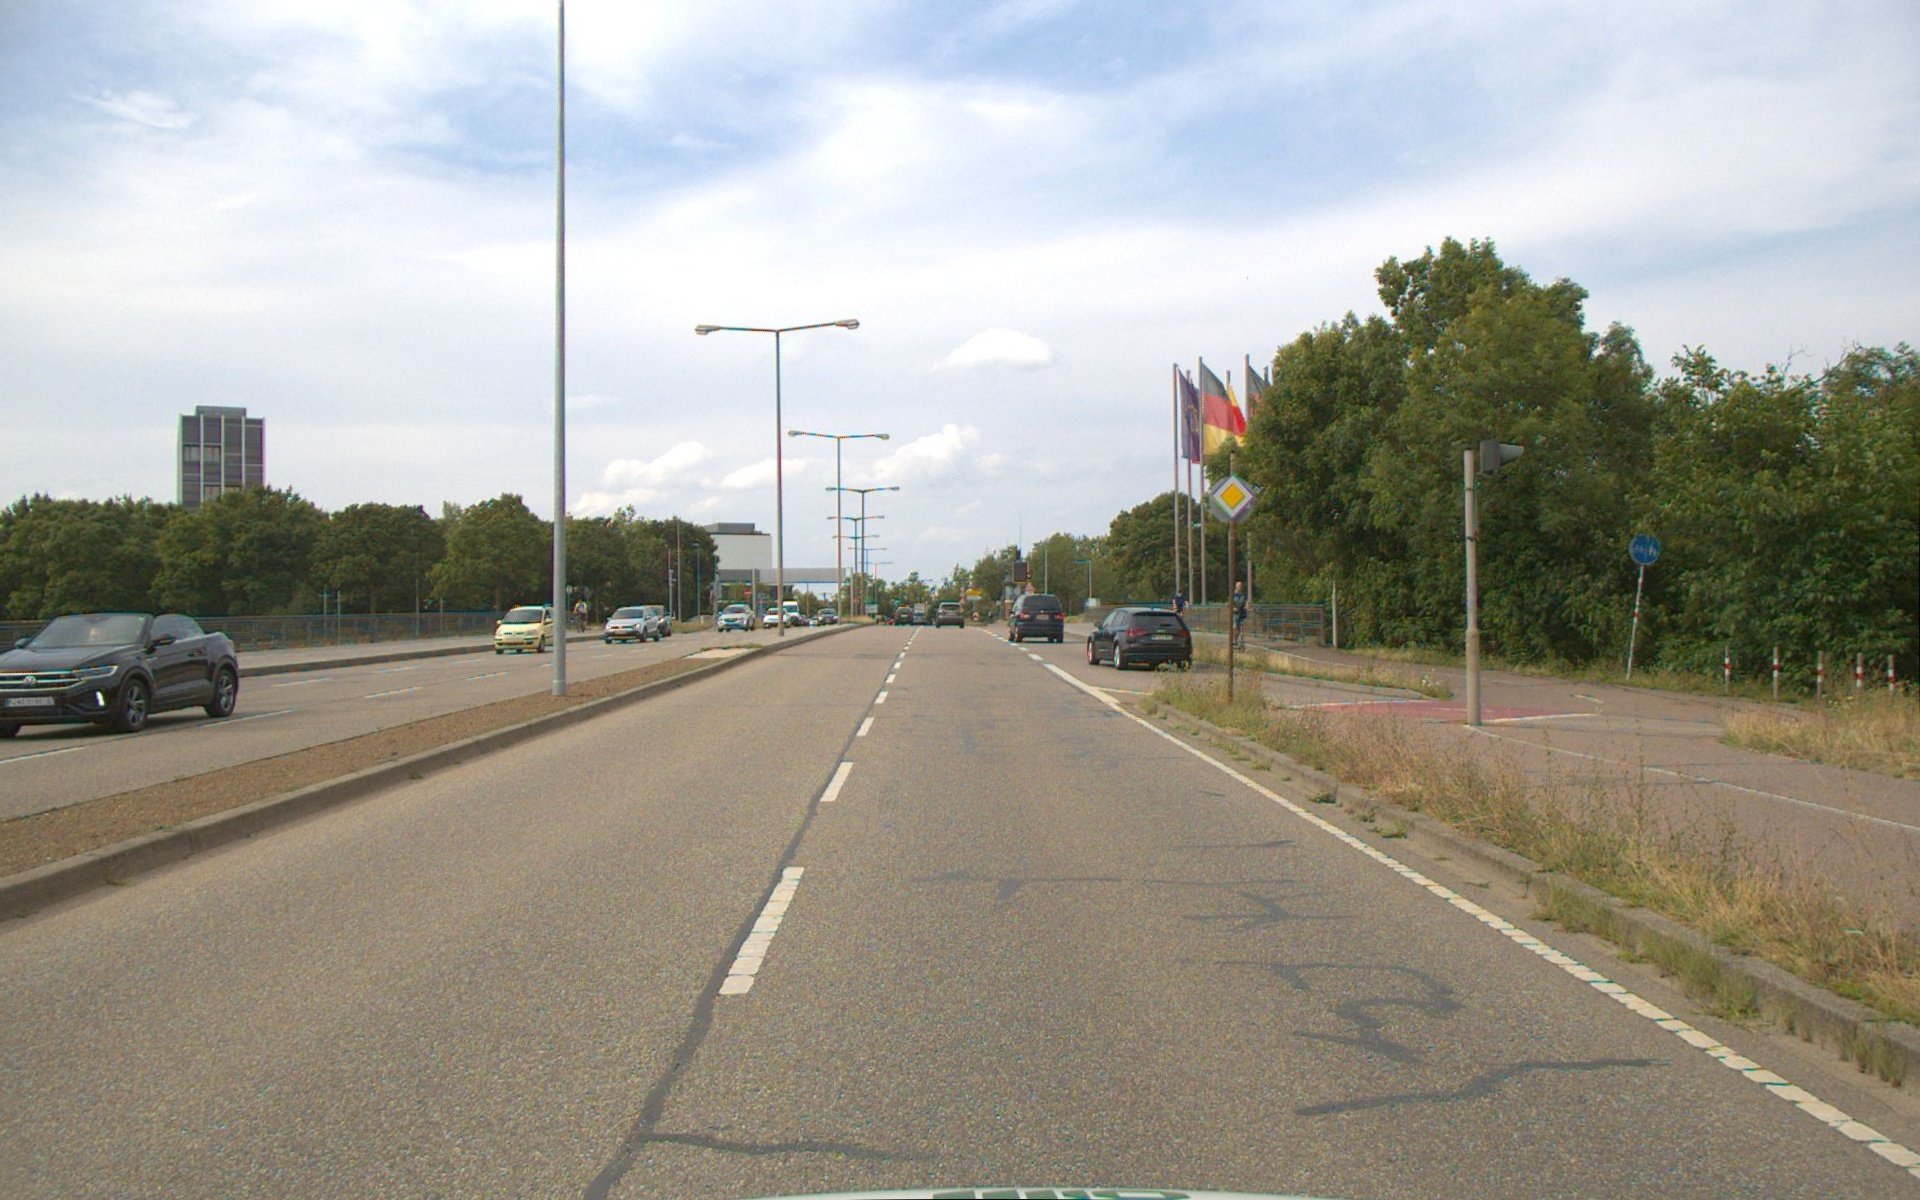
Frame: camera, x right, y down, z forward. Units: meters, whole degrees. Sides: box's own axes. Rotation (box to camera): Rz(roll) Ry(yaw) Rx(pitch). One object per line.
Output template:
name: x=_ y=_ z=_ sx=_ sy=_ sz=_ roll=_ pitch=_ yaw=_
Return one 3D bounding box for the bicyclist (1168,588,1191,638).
bicyclist: x=7.503 y=0.447 z=56.588 sx=0.651 sy=1.688 sz=0.805 roll=1 pitch=1 yaw=-2

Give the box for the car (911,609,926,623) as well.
car: x=-4.756 y=1.850 z=187.956 sx=1.696 sy=1.553 sz=4.113 roll=1 pitch=-1 yaw=-2

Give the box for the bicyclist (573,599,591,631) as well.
bicyclist: x=-20.108 y=0.792 z=88.010 sx=0.779 sy=1.655 sz=0.975 roll=1 pitch=-1 yaw=-4

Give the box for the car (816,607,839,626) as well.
car: x=-11.484 y=1.442 z=143.618 sx=1.703 sy=1.506 sz=4.774 roll=-2 pitch=-1 yaw=-1

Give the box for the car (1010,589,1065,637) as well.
car: x=2.818 y=0.504 z=60.916 sx=1.696 sy=1.682 sz=4.113 roll=1 pitch=-1 yaw=-2

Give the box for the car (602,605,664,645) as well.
car: x=-13.585 y=1.022 z=68.932 sx=1.615 sy=1.542 sz=4.017 roll=-2 pitch=0 yaw=2

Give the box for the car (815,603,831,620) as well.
car: x=-15.718 y=1.313 z=190.155 sx=1.508 sy=1.904 sz=3.570 roll=-2 pitch=0 yaw=0

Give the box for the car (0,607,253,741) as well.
car: x=-10.827 y=0.872 z=21.248 sx=1.728 sy=1.466 sz=4.176 roll=-2 pitch=0 yaw=-1

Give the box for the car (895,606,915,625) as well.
car: x=-4.997 y=1.466 z=150.924 sx=1.695 sy=1.682 sz=4.114 roll=1 pitch=-1 yaw=-1

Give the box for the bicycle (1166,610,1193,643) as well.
bicycle: x=7.504 y=0.883 z=56.652 sx=0.565 sy=1.040 sz=1.975 roll=-3 pitch=1 yaw=-2

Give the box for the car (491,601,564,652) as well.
car: x=-14.500 y=0.862 z=55.572 sx=1.517 sy=1.605 sz=3.689 roll=-2 pitch=0 yaw=-1

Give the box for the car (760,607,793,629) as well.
car: x=-13.357 y=1.315 z=120.563 sx=1.702 sy=1.506 sz=4.472 roll=-2 pitch=0 yaw=2

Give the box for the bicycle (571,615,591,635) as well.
bicycle: x=-20.119 y=1.333 z=87.884 sx=0.692 sy=1.068 sz=2.058 roll=0 pitch=-1 yaw=-4

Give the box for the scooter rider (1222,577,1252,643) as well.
scooter rider: x=7.299 y=0.271 z=43.613 sx=0.576 sy=1.720 sz=0.742 roll=1 pitch=-1 yaw=-9

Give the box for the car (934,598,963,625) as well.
car: x=-0.738 y=0.748 z=105.659 sx=1.696 sy=1.682 sz=4.113 roll=1 pitch=-1 yaw=-2

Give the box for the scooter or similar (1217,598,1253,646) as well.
scooter or similar: x=7.271 y=0.567 z=43.748 sx=0.577 sy=1.246 sz=1.200 roll=1 pitch=-1 yaw=-9

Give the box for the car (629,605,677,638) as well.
car: x=-15.357 y=1.047 z=82.959 sx=1.704 sy=1.542 sz=4.314 roll=-2 pitch=0 yaw=-2

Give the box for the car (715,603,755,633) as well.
car: x=-14.101 y=1.113 z=103.687 sx=1.825 sy=1.755 sz=4.769 roll=-2 pitch=0 yaw=0

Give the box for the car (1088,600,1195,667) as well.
car: x=4.187 y=0.731 z=38.769 sx=1.697 sy=1.419 sz=4.111 roll=-1 pitch=1 yaw=-5
